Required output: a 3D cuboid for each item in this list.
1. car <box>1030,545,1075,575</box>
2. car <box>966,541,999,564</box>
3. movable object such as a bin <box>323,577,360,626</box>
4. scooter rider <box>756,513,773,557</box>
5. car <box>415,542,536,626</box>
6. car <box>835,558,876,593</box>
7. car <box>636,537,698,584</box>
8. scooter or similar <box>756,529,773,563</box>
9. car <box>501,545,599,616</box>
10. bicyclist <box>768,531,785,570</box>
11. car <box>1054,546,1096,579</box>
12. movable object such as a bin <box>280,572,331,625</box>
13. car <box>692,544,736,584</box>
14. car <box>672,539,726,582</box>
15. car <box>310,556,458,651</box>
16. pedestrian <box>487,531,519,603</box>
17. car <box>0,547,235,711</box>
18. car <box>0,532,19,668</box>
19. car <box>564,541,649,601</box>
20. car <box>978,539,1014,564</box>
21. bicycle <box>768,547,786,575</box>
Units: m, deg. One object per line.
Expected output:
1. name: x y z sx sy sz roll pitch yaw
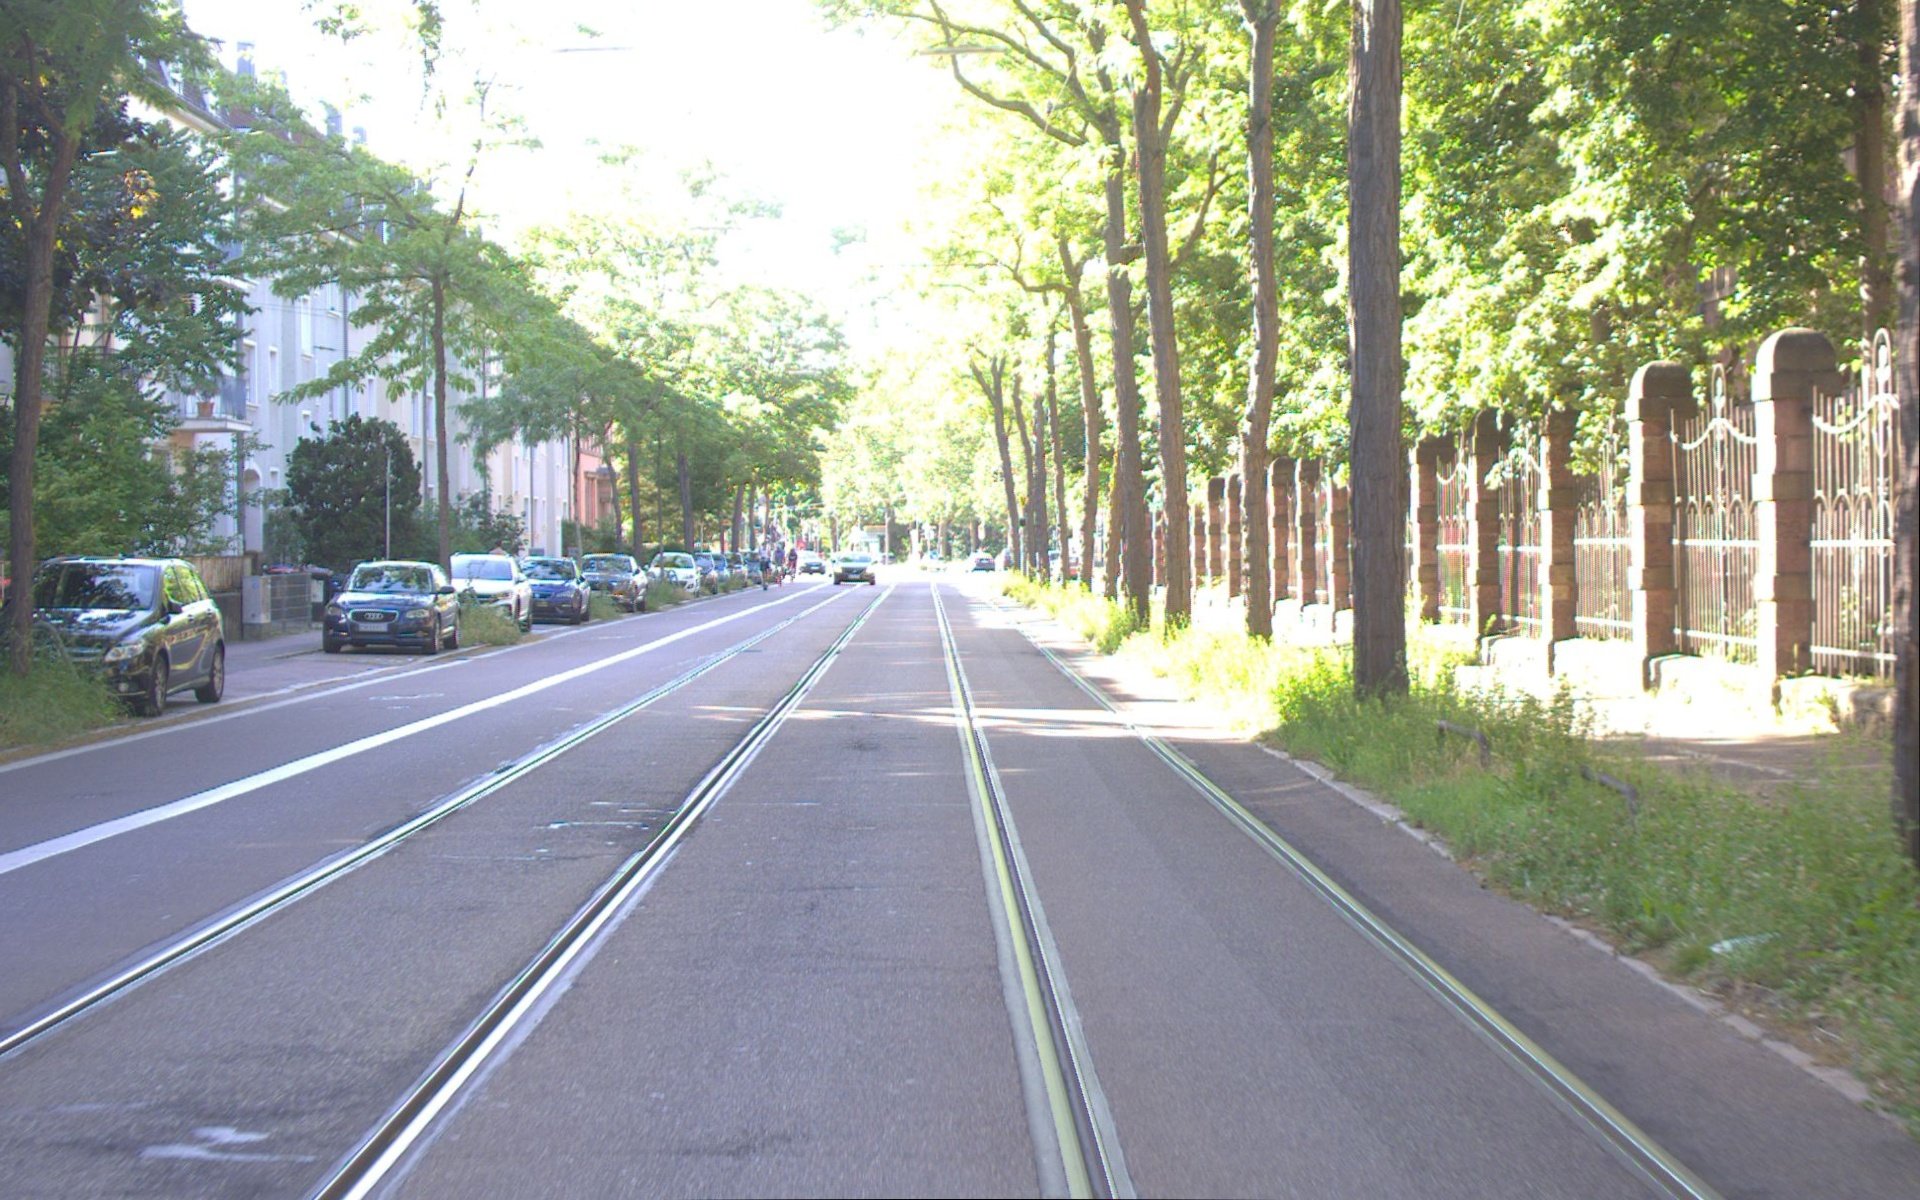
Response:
1. car: 4.983 -2.162 185.334 1.942 1.605 4.001 0 1 -6
2. car: 1.608 -3.361 243.324 1.942 1.605 4.001 0 1 -5
3. movable object such as a bin: -12.578 0.026 69.934 0.559 0.972 0.732 2 1 3
4. scooter rider: -7.682 -2.565 135.127 0.496 1.694 0.787 -4 1 0
5. car: -9.243 -0.332 65.924 1.817 1.506 4.372 1 1 -2
6. car: -4.565 -1.079 149.943 1.757 1.434 4.524 0 1 -2
7. car: -9.827 -1.340 115.535 1.702 1.480 4.079 2 1 -1
8. scooter or similar: -7.667 -2.135 135.107 0.520 1.293 1.377 -4 1 0
9. car: -9.071 -0.451 76.242 1.757 1.506 4.439 1 1 -2
10. bicyclist: -7.949 -2.148 148.799 0.626 1.633 0.940 -3 1 0
11. car: 5.832 -1.926 175.024 1.839 1.649 3.580 0 1 -3
12. movable object such as a bin: -13.298 -0.037 69.870 0.845 1.042 0.732 2 1 3
13. car: -9.556 -1.408 133.557 1.560 1.452 3.931 2 1 -3
14. car: -9.370 -1.432 123.703 1.687 1.480 3.760 2 1 -2
15. car: -9.050 0.026 54.304 1.705 1.401 4.334 1 1 -1
16. pedestrian: -11.577 -0.838 87.105 0.691 1.795 0.813 -1 1 0
17. car: -8.805 0.247 35.341 1.776 1.536 4.486 1 1 0
18. car: -13.761 -0.016 41.705 4.165 1.653 1.984 0 1 -2
19. car: -9.147 -0.769 89.249 1.817 1.480 4.206 1 1 -1
20. car: 2.408 -3.253 230.148 1.942 1.605 4.001 0 1 -6
21. bicycle: -7.932 -1.709 148.910 0.626 1.173 1.913 -3 1 0
